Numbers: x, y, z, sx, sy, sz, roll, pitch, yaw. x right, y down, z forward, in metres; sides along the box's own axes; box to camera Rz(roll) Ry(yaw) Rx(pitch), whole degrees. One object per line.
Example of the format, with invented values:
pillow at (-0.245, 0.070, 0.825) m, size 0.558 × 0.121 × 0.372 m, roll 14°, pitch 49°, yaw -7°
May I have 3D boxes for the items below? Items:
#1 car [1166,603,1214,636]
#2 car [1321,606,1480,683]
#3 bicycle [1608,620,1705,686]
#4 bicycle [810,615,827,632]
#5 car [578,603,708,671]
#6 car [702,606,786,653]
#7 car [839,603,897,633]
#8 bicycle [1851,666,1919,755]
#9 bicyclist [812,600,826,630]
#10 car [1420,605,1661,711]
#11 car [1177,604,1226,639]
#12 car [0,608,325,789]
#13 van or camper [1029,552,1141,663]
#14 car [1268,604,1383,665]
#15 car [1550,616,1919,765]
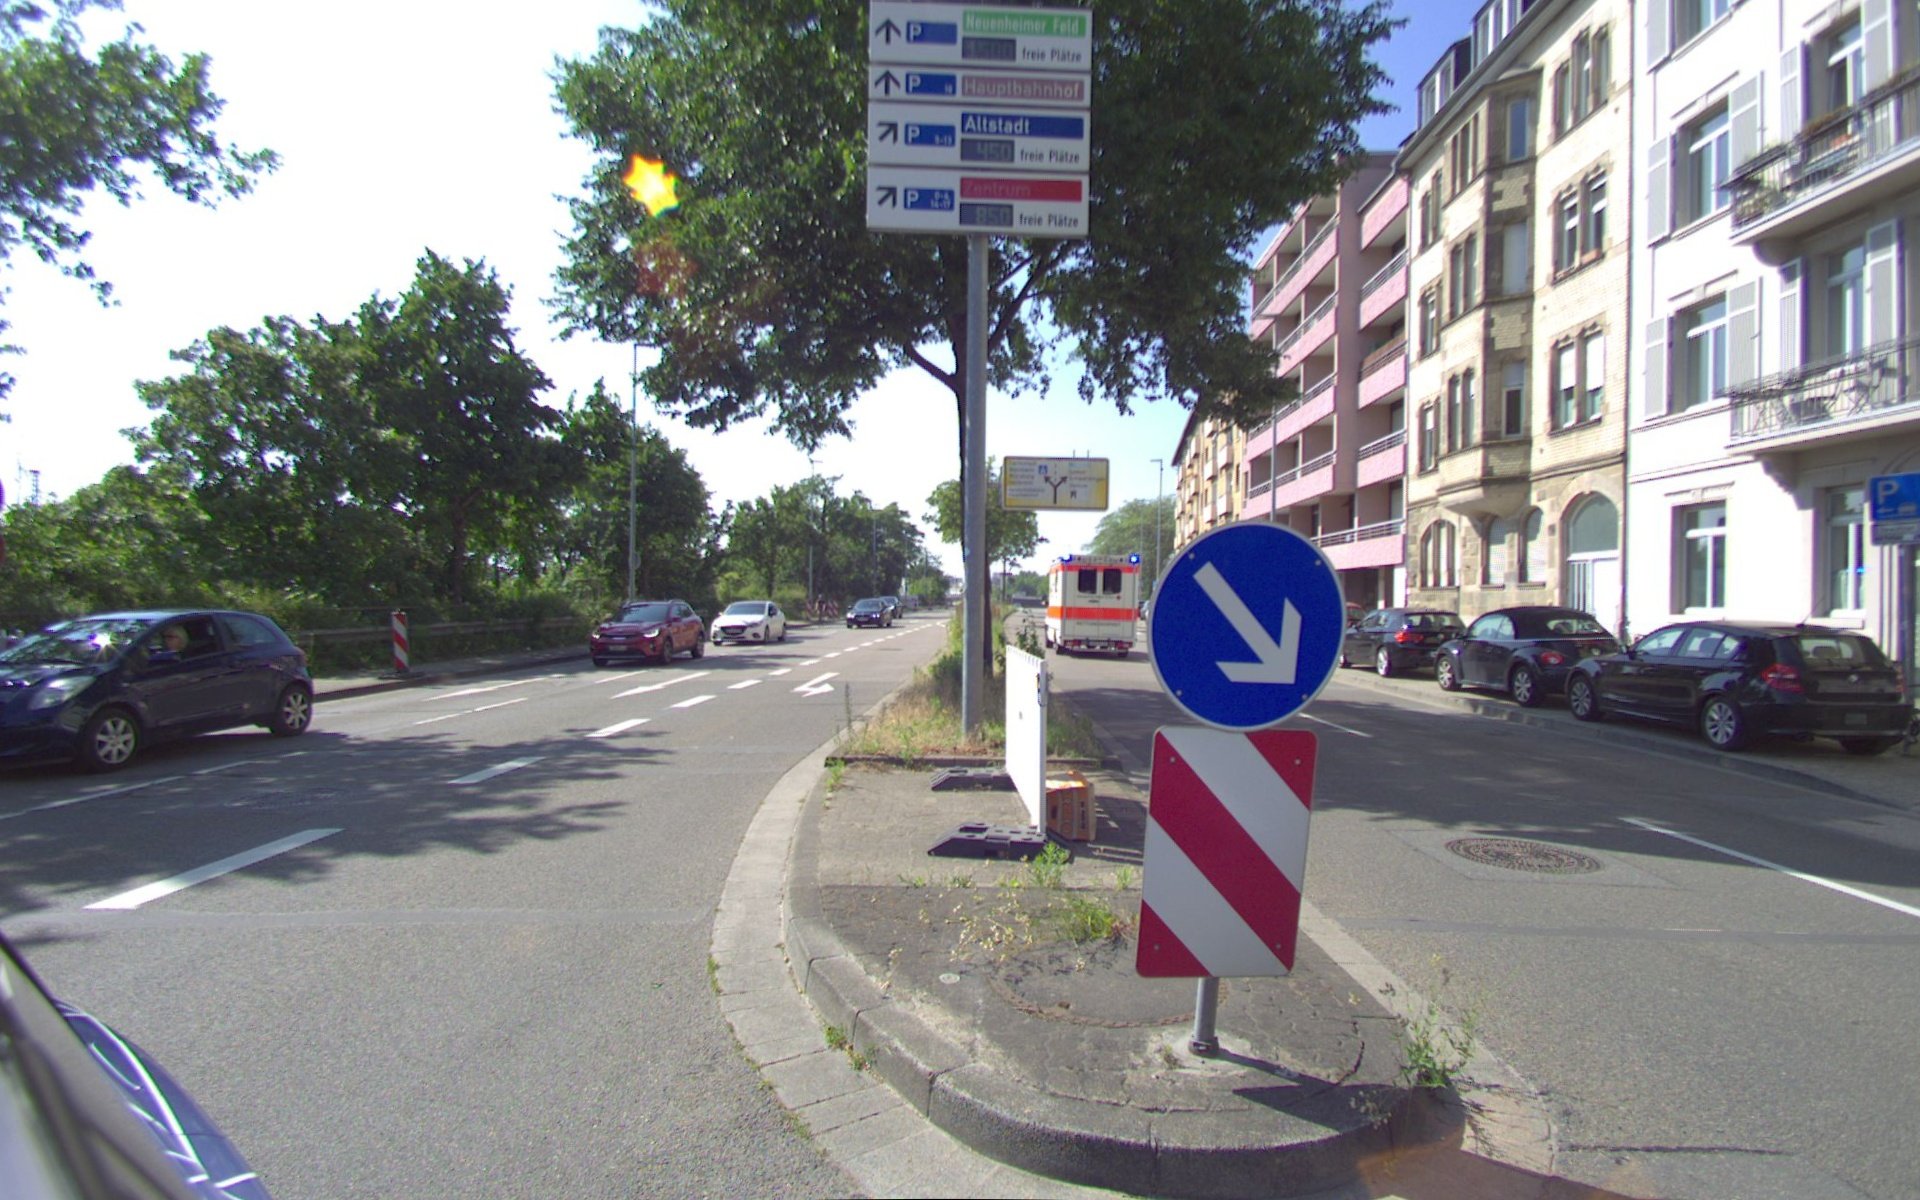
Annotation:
car at (11.276, 0.909, 49.828) m, size 1.720 × 1.553 × 4.346 m, roll 0°, pitch 0°, yaw 5°
car at (9.344, 0.882, 21.824) m, size 1.624 × 1.464 × 4.126 m, roll 1°, pitch 0°, yaw 0°
bicycle at (13.021, 0.968, 18.982) m, size 0.648 × 1.155 × 1.627 m, roll -1°, pitch 0°, yaw -1°
bicycle at (-7.257, 1.204, 51.991) m, size 0.489 × 0.839 × 1.804 m, roll 0°, pitch 0°, yaw 4°
car at (-7.613, 0.839, 24.670) m, size 1.779 × 1.531 × 3.961 m, roll 0°, pitch 0°, yaw 3°
car at (-7.210, 0.944, 34.204) m, size 1.845 × 1.464 × 4.202 m, roll -1°, pitch 0°, yaw 1°
car at (-4.581, 0.864, 51.039) m, size 1.976 × 1.422 × 4.605 m, roll -1°, pitch 0°, yaw 7°
bicycle at (10.365, 1.194, 10.693) m, size 0.443 × 0.898 × 1.582 m, roll 1°, pitch 0°, yaw -2°
bicyclist at (-7.264, 0.783, 52.075) m, size 0.568 × 1.545 × 0.778 m, roll 0°, pitch 0°, yaw 4°
car at (9.274, 0.846, 16.596) m, size 1.624 × 1.512 × 4.009 m, roll -1°, pitch 0°, yaw 0°
car at (10.708, 0.924, 45.010) m, size 1.663 × 1.419 × 3.424 m, roll -1°, pitch 0°, yaw 6°
car at (-8.560, 0.858, 10.418) m, size 1.625 × 1.512 × 3.646 m, roll -1°, pitch 0°, yaw 3°
van or camper at (3.421, 0.201, 28.884) m, size 2.270 × 2.810 × 5.573 m, roll 1°, pitch 0°, yaw -2°
car at (9.586, 0.859, 26.896) m, size 1.767 × 1.493 × 3.996 m, roll -1°, pitch 0°, yaw 3°
car at (9.116, 0.933, 12.097) m, size 1.722 × 1.427 × 4.080 m, roll -1°, pitch 0°, yaw 0°
